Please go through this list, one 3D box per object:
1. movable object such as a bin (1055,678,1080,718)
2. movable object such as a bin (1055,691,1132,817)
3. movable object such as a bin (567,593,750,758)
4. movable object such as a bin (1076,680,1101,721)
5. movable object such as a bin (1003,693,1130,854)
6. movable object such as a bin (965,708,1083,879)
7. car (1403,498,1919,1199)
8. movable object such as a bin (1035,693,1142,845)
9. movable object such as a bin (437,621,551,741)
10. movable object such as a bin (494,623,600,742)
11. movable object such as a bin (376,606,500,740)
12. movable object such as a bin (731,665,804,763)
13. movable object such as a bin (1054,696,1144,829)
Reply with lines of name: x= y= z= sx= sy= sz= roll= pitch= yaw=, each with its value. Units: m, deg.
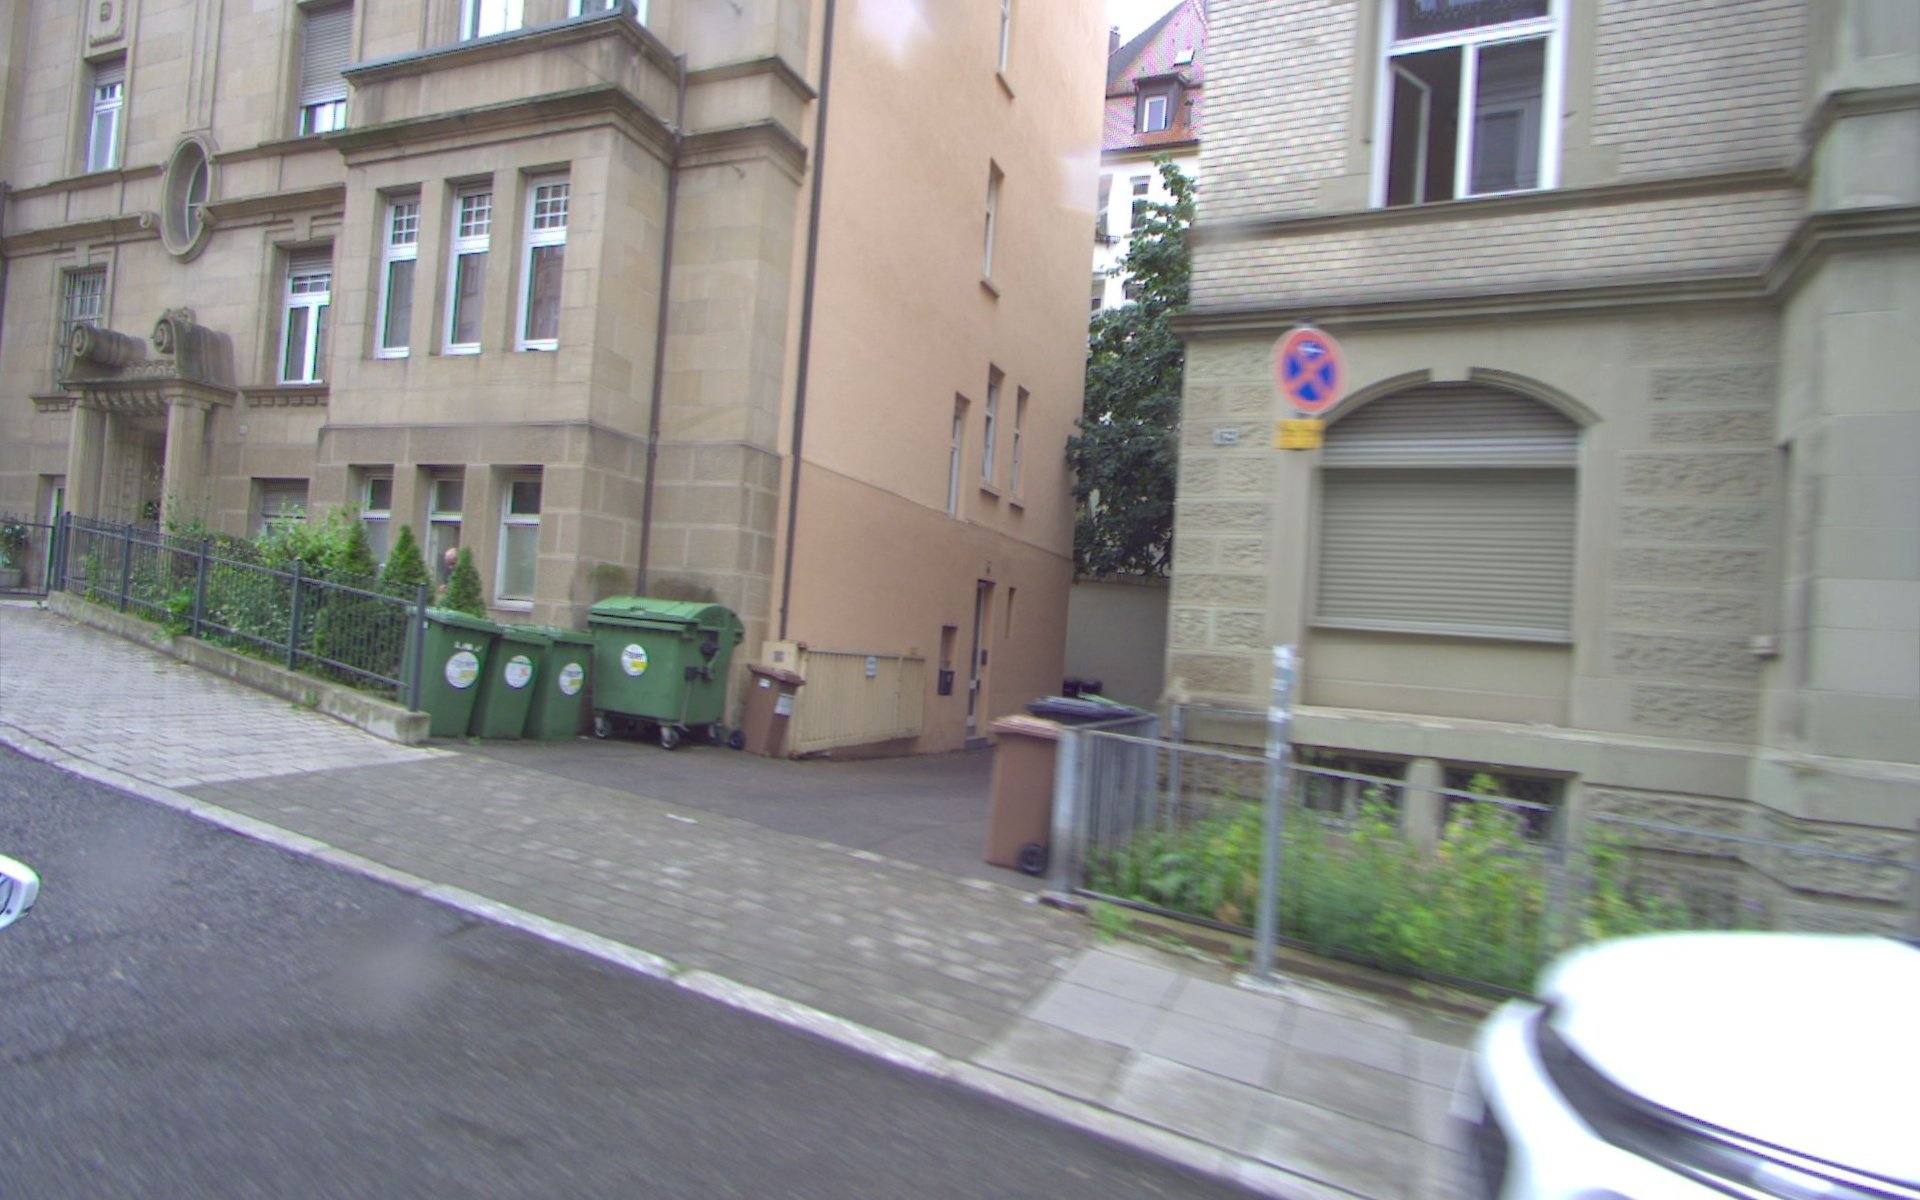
movable object such as a bin: x=3.076 y=2.793 z=28.741 sx=0.544 sy=1.053 sz=0.563 roll=4 pitch=3 yaw=22
movable object such as a bin: x=1.295 y=1.482 z=9.710 sx=0.469 sy=1.113 sz=0.521 roll=6 pitch=-4 yaw=25
movable object such as a bin: x=-3.033 y=0.775 z=10.197 sx=1.256 sy=1.446 sz=0.976 roll=6 pitch=-5 yaw=22
movable object such as a bin: x=3.651 y=2.838 z=28.504 sx=0.532 sy=1.053 sz=0.563 roll=4 pitch=3 yaw=22
movable object such as a bin: x=0.791 y=1.264 z=7.436 sx=0.653 sy=1.041 sz=0.529 roll=6 pitch=-4 yaw=31
movable object such as a bin: x=0.408 y=1.195 z=6.343 sx=0.527 sy=0.931 sz=0.427 roll=8 pitch=2 yaw=22
car: x=3.029 y=1.082 z=1.226 sx=4.382 sy=1.785 sz=1.804 roll=7 pitch=-2 yaw=24
movable object such as a bin: x=1.032 y=1.330 z=8.013 sx=0.598 sy=1.072 sz=0.501 roll=6 pitch=-4 yaw=25
movable object such as a bin: x=-4.186 y=0.738 z=9.053 sx=0.593 sy=0.978 sz=0.540 roll=6 pitch=-4 yaw=22
movable object such as a bin: x=-3.957 y=0.799 z=9.655 sx=0.593 sy=1.036 sz=0.540 roll=6 pitch=-4 yaw=22
movable object such as a bin: x=-4.407 y=0.625 z=8.519 sx=0.593 sy=1.036 sz=0.540 roll=6 pitch=-4 yaw=22
movable object such as a bin: x=-2.034 y=1.205 z=10.658 sx=0.510 sy=0.952 sz=0.395 roll=6 pitch=-4 yaw=22
movable object such as a bin: x=1.248 y=1.439 z=8.978 sx=0.545 sy=1.072 sz=0.498 roll=6 pitch=-4 yaw=25
